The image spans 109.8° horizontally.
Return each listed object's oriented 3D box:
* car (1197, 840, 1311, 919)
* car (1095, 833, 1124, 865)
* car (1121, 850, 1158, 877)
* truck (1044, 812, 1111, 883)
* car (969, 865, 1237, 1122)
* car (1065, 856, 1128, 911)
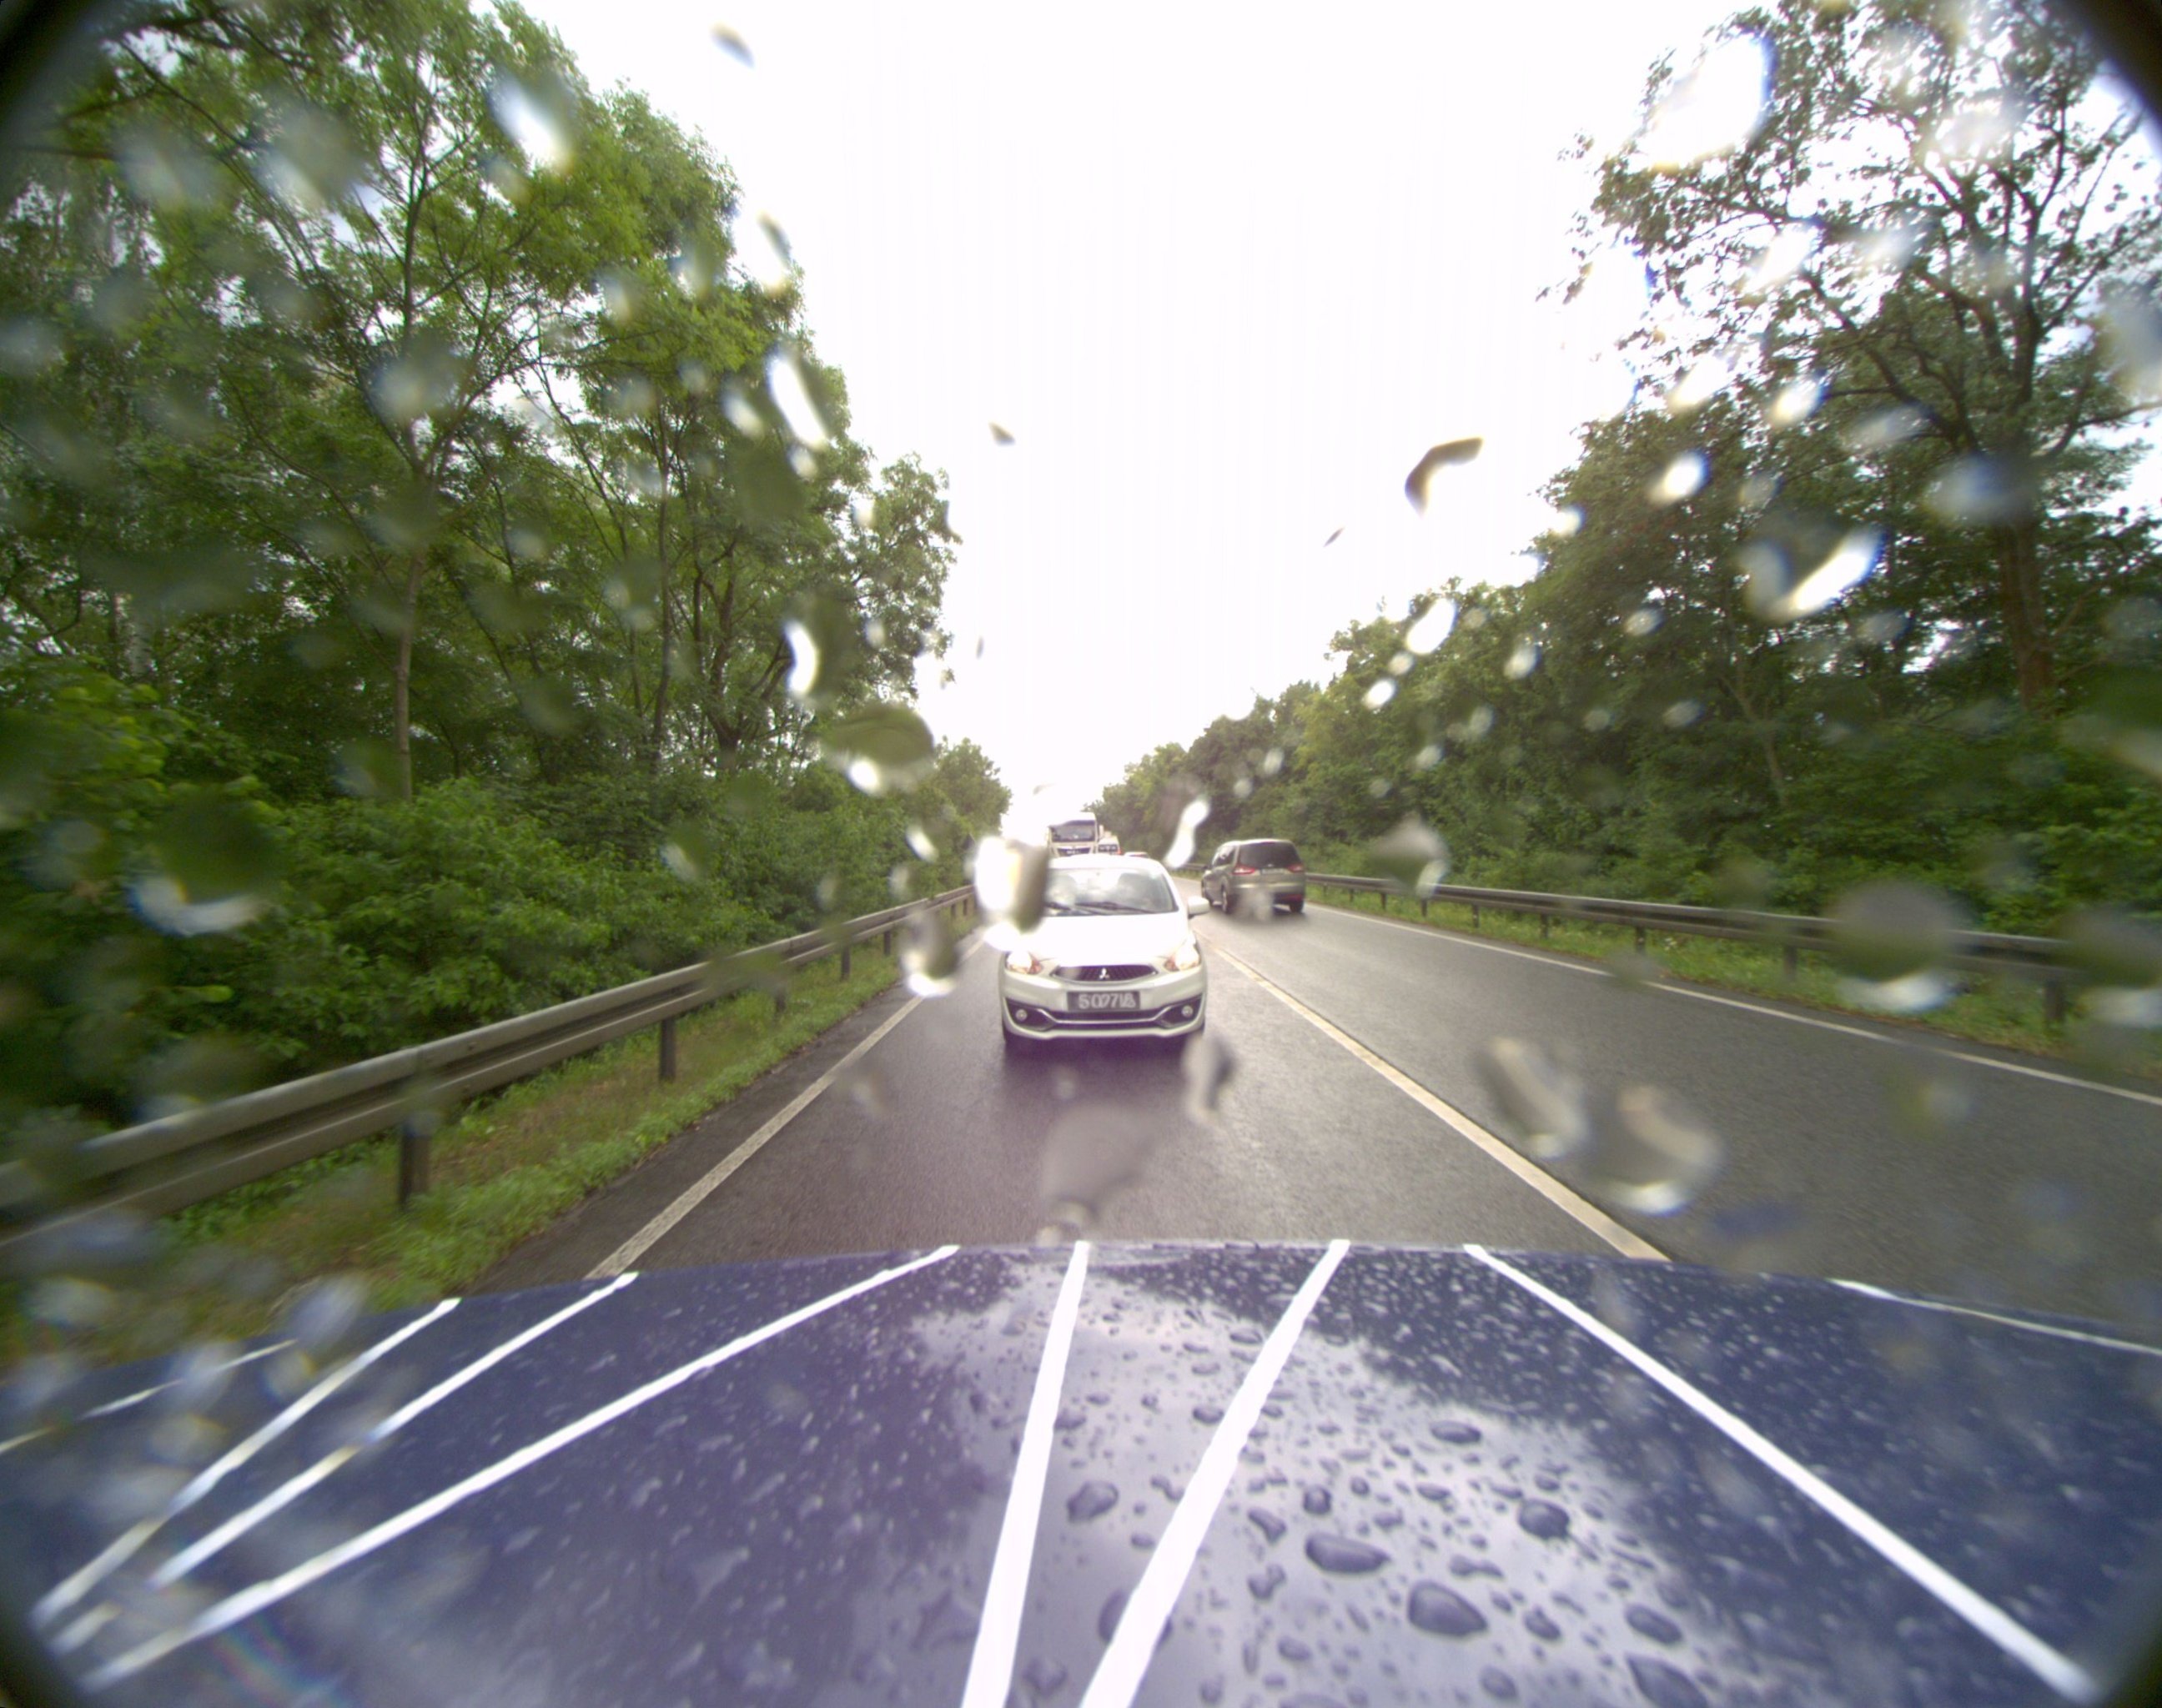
[{"bbox_3d":[4.143,0.517,18.982,1.819,1.676,4.621,-2,1,1],"label":"car"},{"bbox_3d":[2.491,-0.456,67.512,2.053,2.661,6.169,-2,1,-2],"label":"car"},{"bbox_3d":[3.346,0.506,44.326,1.733,1.423,3.848,-2,1,-1],"label":"car"},{"bbox_3d":[-0.361,-0.391,41.925,3.137,3.364,9.279,-2,1,-2],"label":"truck"},{"bbox_3d":[0.131,0.898,6.823,1.610,1.435,4.208,-2,1,0],"label":"car"},{"bbox_3d":[0.376,0.817,23.087,1.641,1.413,4.490,-2,0,-2],"label":"car"}]
